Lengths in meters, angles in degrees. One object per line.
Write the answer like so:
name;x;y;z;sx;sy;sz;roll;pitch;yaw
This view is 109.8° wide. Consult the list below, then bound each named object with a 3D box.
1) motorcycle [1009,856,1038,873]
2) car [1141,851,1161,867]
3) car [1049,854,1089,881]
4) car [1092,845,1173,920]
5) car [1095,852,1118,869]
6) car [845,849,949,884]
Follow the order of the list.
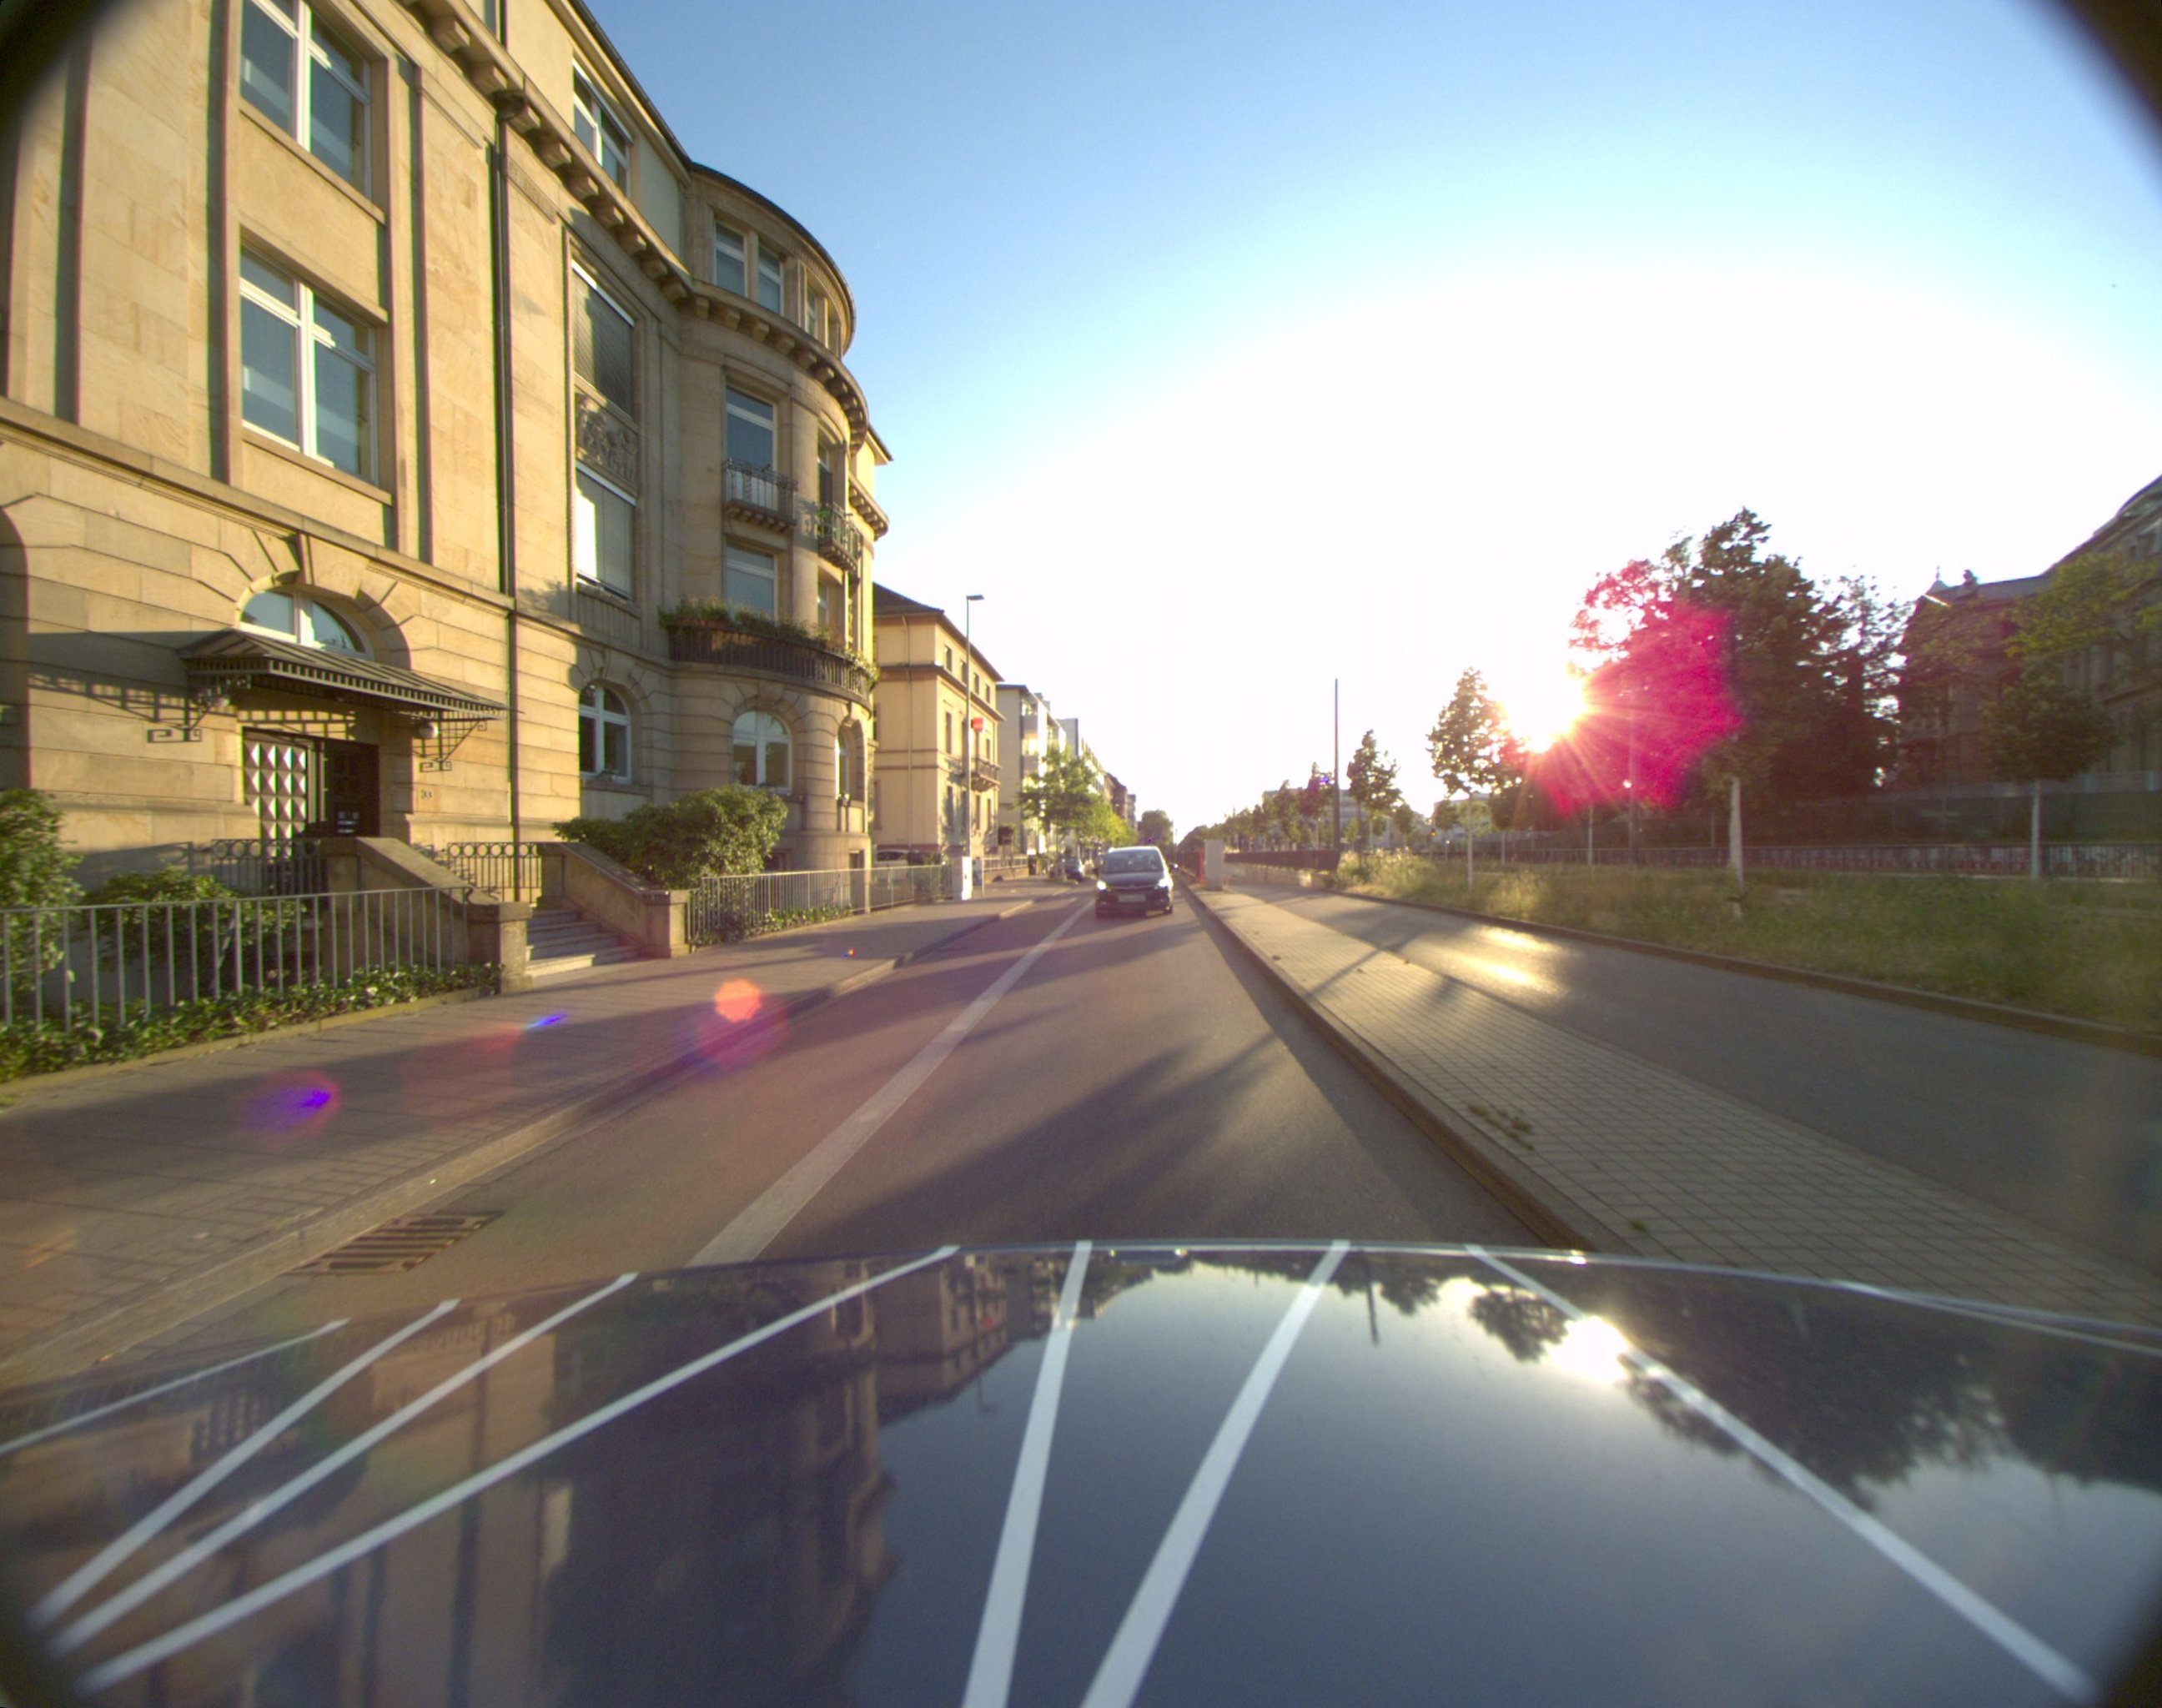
motorcycle;-3.817;0.696;50.376;1.847;1.090;0.576;-1;1;11
car;6.825;0.541;74.546;1.858;1.425;4.845;-2;-1;5
car;-0.607;0.713;42.854;1.881;1.394;4.101;-1;0;4
car;1.376;0.596;19.262;1.770;1.649;4.854;0;1;6
car;2.415;0.602;71.791;1.936;1.472;4.101;-1;0;4
car;-8.242;0.546;34.259;4.095;1.472;1.939;-1;0;6
